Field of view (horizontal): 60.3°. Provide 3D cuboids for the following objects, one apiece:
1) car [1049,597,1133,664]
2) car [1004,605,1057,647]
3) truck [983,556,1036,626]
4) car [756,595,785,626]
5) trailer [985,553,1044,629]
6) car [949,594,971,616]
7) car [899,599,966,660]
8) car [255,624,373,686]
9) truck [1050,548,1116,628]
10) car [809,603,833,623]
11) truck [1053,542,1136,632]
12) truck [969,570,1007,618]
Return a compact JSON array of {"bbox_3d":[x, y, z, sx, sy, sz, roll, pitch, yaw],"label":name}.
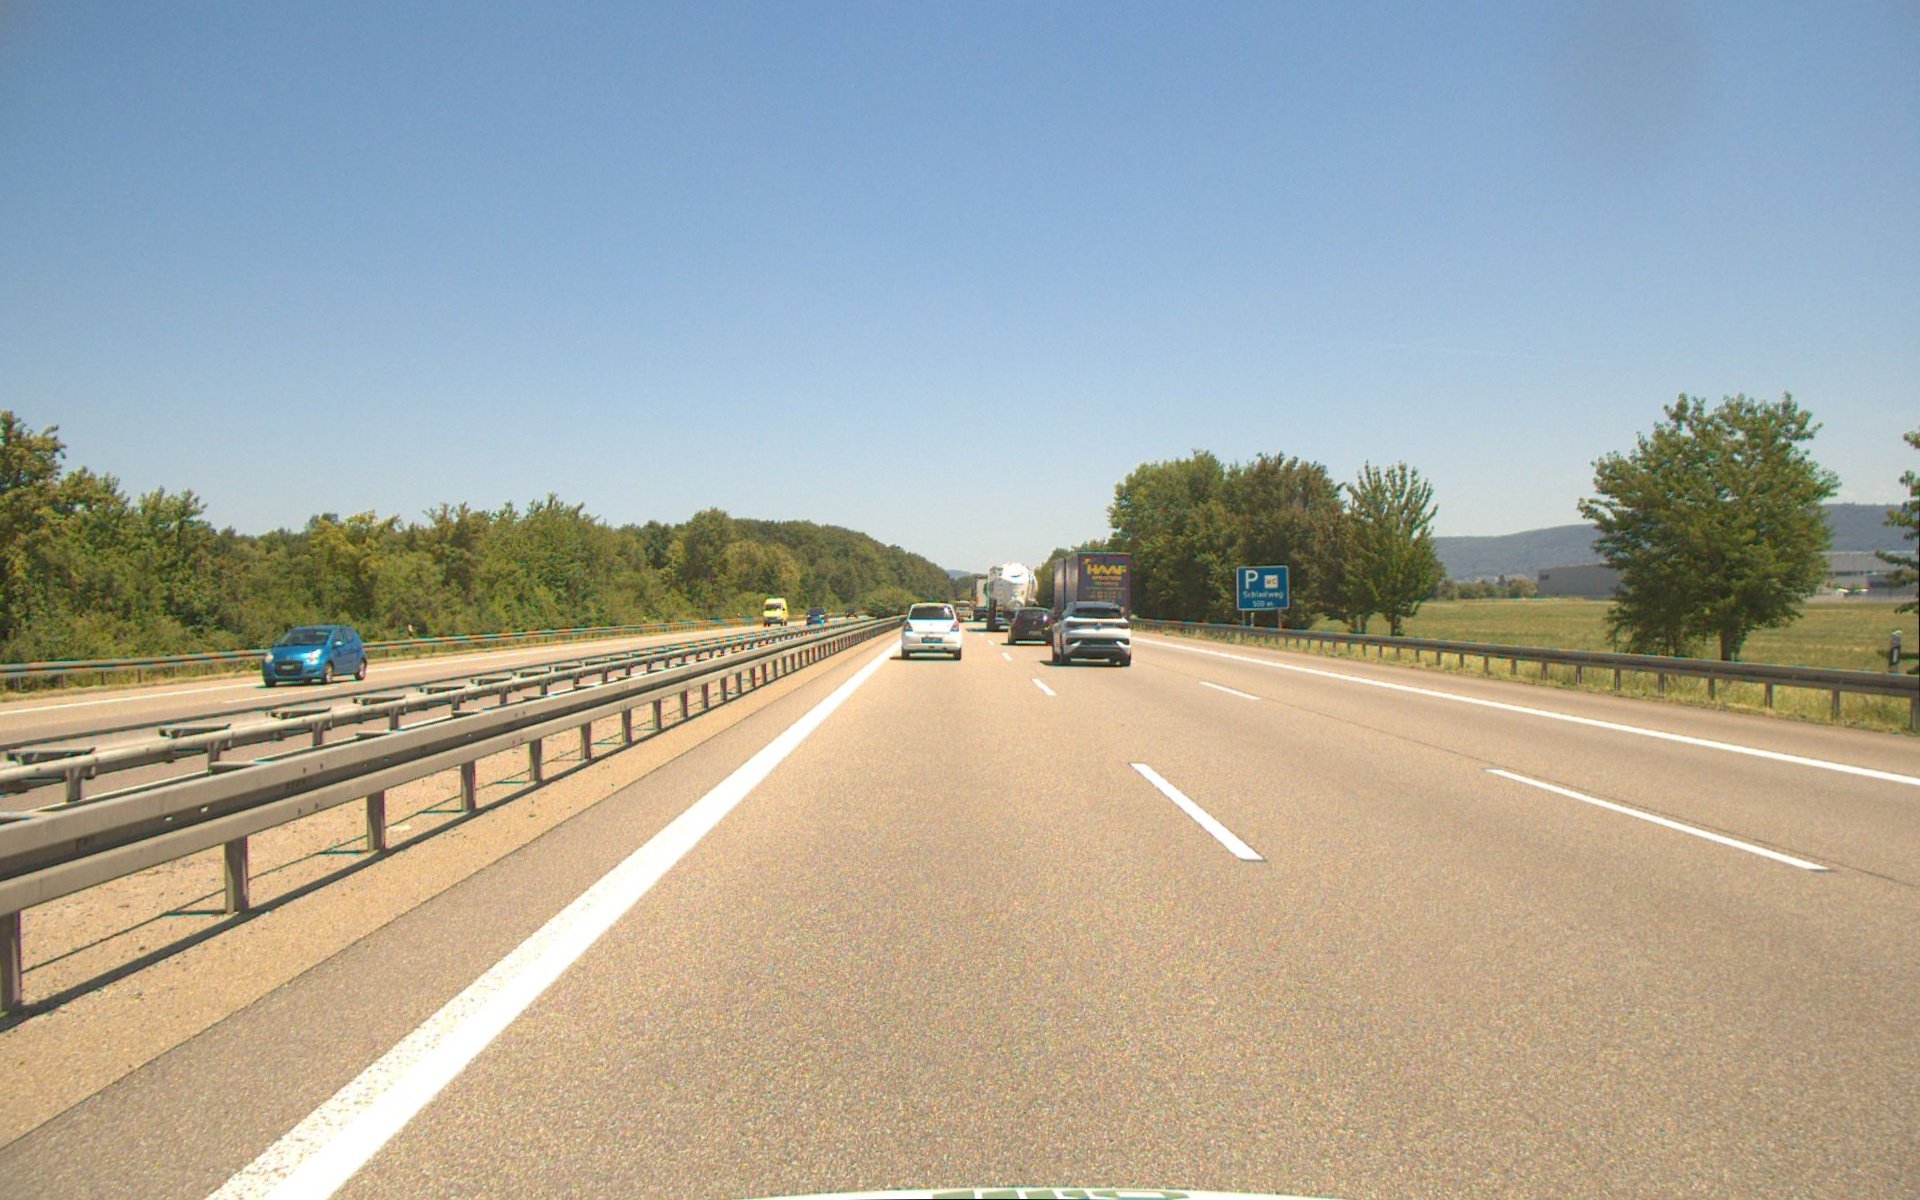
[{"bbox_3d":[3.374,0.748,43.270,1.765,1.631,4.380,1,0,-1],"label":"car"},{"bbox_3d":[2.679,0.972,63.744,1.813,1.549,3.956,1,0,-1],"label":"car"},{"bbox_3d":[3.044,-0.546,103.101,2.853,4.150,7.193,1,0,-1],"label":"truck"},{"bbox_3d":[-18.349,1.015,160.657,2.121,2.828,5.799,-2,0,-1],"label":"car"},{"bbox_3d":[3.111,-0.502,98.443,2.852,4.140,12.415,1,0,-1],"label":"trailer"},{"bbox_3d":[0.055,0.537,187.501,2.424,2.395,5.181,1,0,0],"label":"car"},{"bbox_3d":[-0.774,0.792,46.067,1.763,1.579,3.609,1,0,-1],"label":"car"},{"bbox_3d":[-16.387,1.370,42.127,1.532,1.449,3.472,-3,-1,1],"label":"car"},{"bbox_3d":[6.770,-0.635,91.883,3.045,4.211,8.056,1,0,0],"label":"truck"},{"bbox_3d":[-12.995,1.211,155.220,1.830,1.719,4.625,-2,0,-1],"label":"car"},{"bbox_3d":[6.761,-0.605,85.668,3.045,4.211,15.510,1,0,0],"label":"truck"},{"bbox_3d":[2.534,-0.523,153.853,3.325,4.287,12.083,1,0,0],"label":"truck"}]
